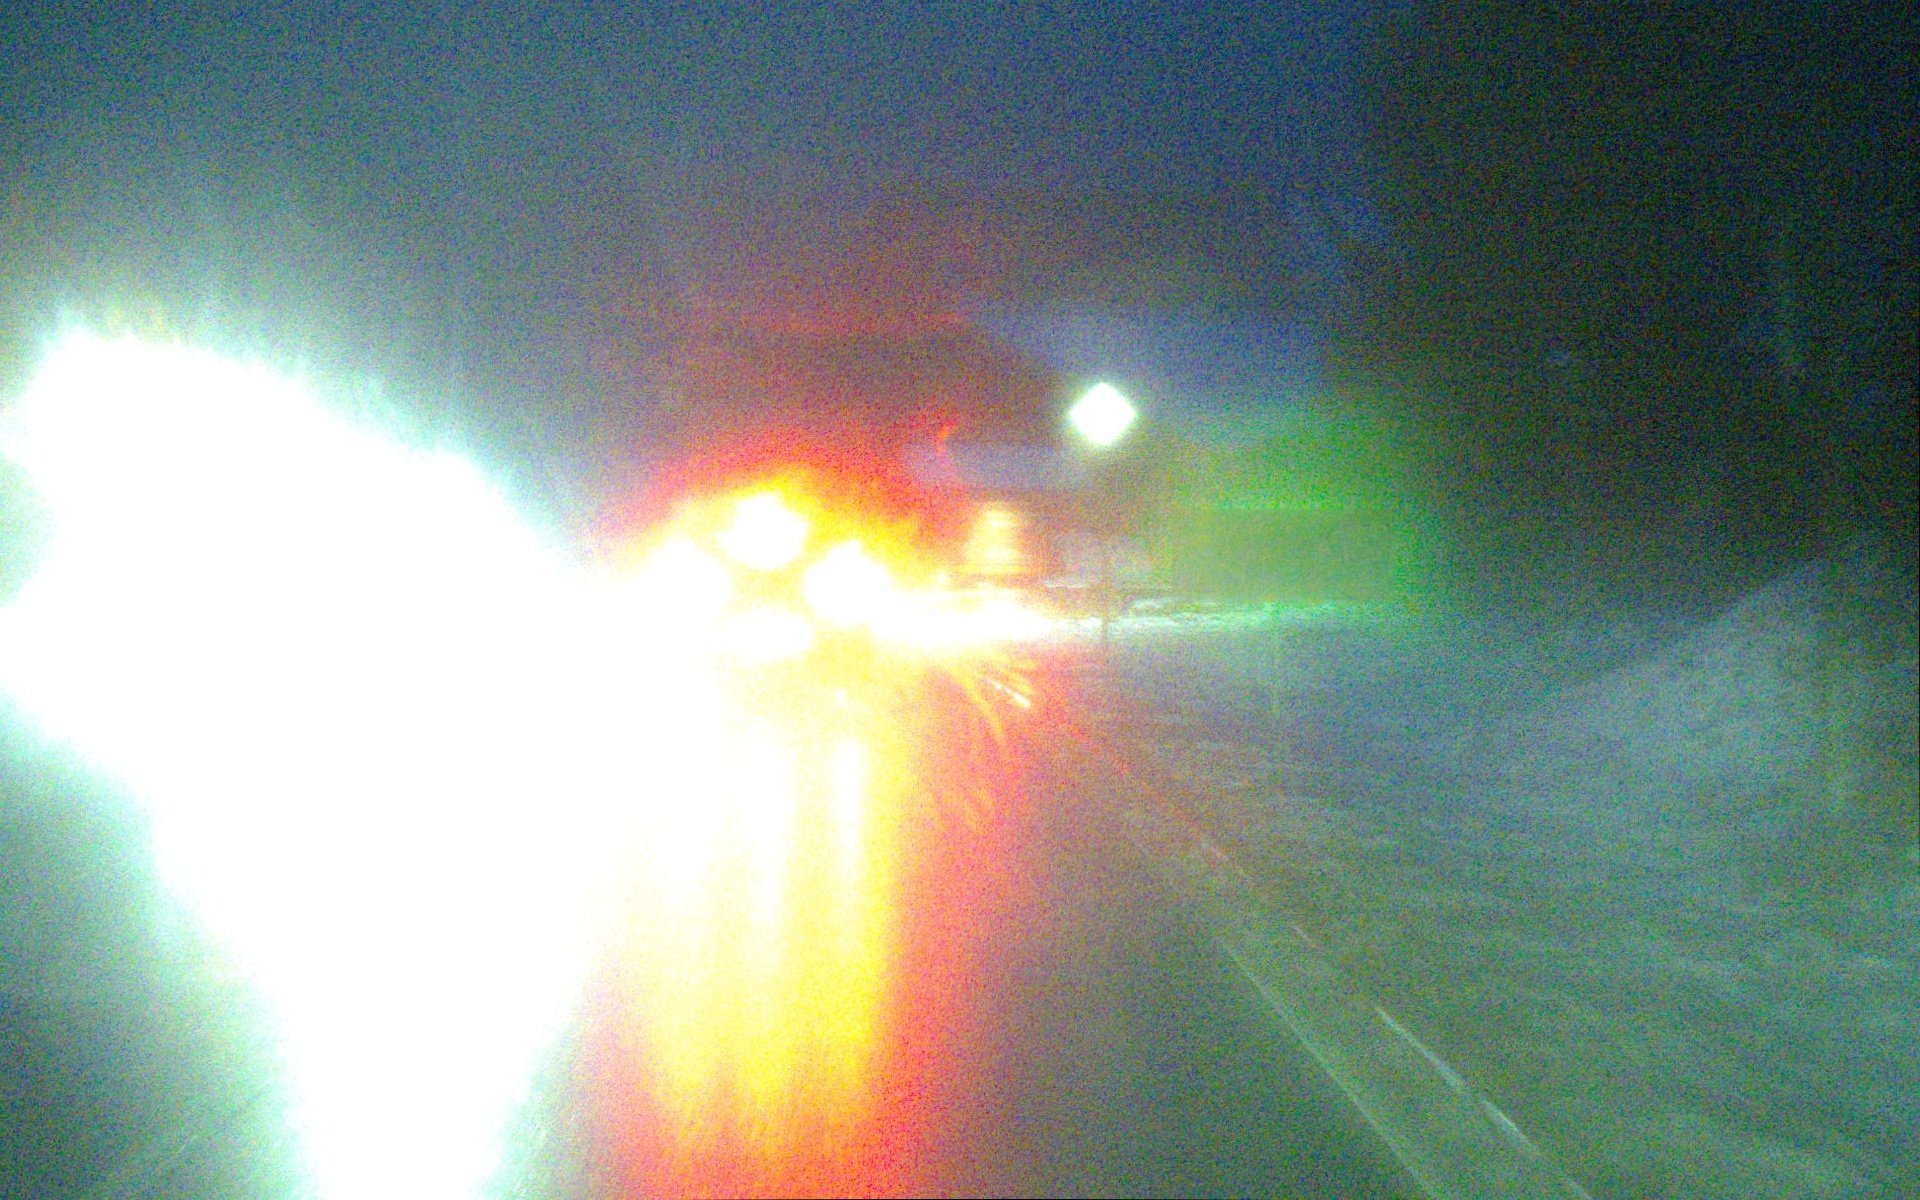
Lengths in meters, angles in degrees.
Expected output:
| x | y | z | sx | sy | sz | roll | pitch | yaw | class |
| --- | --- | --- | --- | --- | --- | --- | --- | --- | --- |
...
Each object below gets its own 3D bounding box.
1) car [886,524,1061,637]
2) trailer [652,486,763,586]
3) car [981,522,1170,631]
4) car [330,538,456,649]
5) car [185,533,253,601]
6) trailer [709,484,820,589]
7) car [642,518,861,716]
| x | y | z | sx | sy | sz | roll | pitch | yaw | class |
| --- | --- | --- | --- | --- | --- | --- | --- | --- | --- |
| 0.208 | -0.384 | 64.743 | 1.877 | 2.033 | 4.392 | 1 | 1 | -20 | car |
| -6.310 | -1.602 | 85.546 | 1.629 | 2.356 | 4.655 | 3 | 0 | -17 | trailer |
| 1.964 | -0.419 | 59.798 | 1.877 | 1.803 | 4.157 | 1 | 1 | -19 | car |
| -9.562 | -0.132 | 57.935 | 1.976 | 1.772 | 4.001 | 1 | 1 | -10 | car |
| -23.502 | -1.059 | 108.912 | 1.918 | 2.050 | 4.889 | 1 | 1 | -14 | car |
| -4.632 | -1.494 | 80.897 | 1.605 | 2.344 | 4.432 | 3 | 0 | -15 | trailer |
| -1.832 | 0.102 | 30.468 | 1.801 | 1.623 | 3.616 | 1 | 1 | -3 | car |
